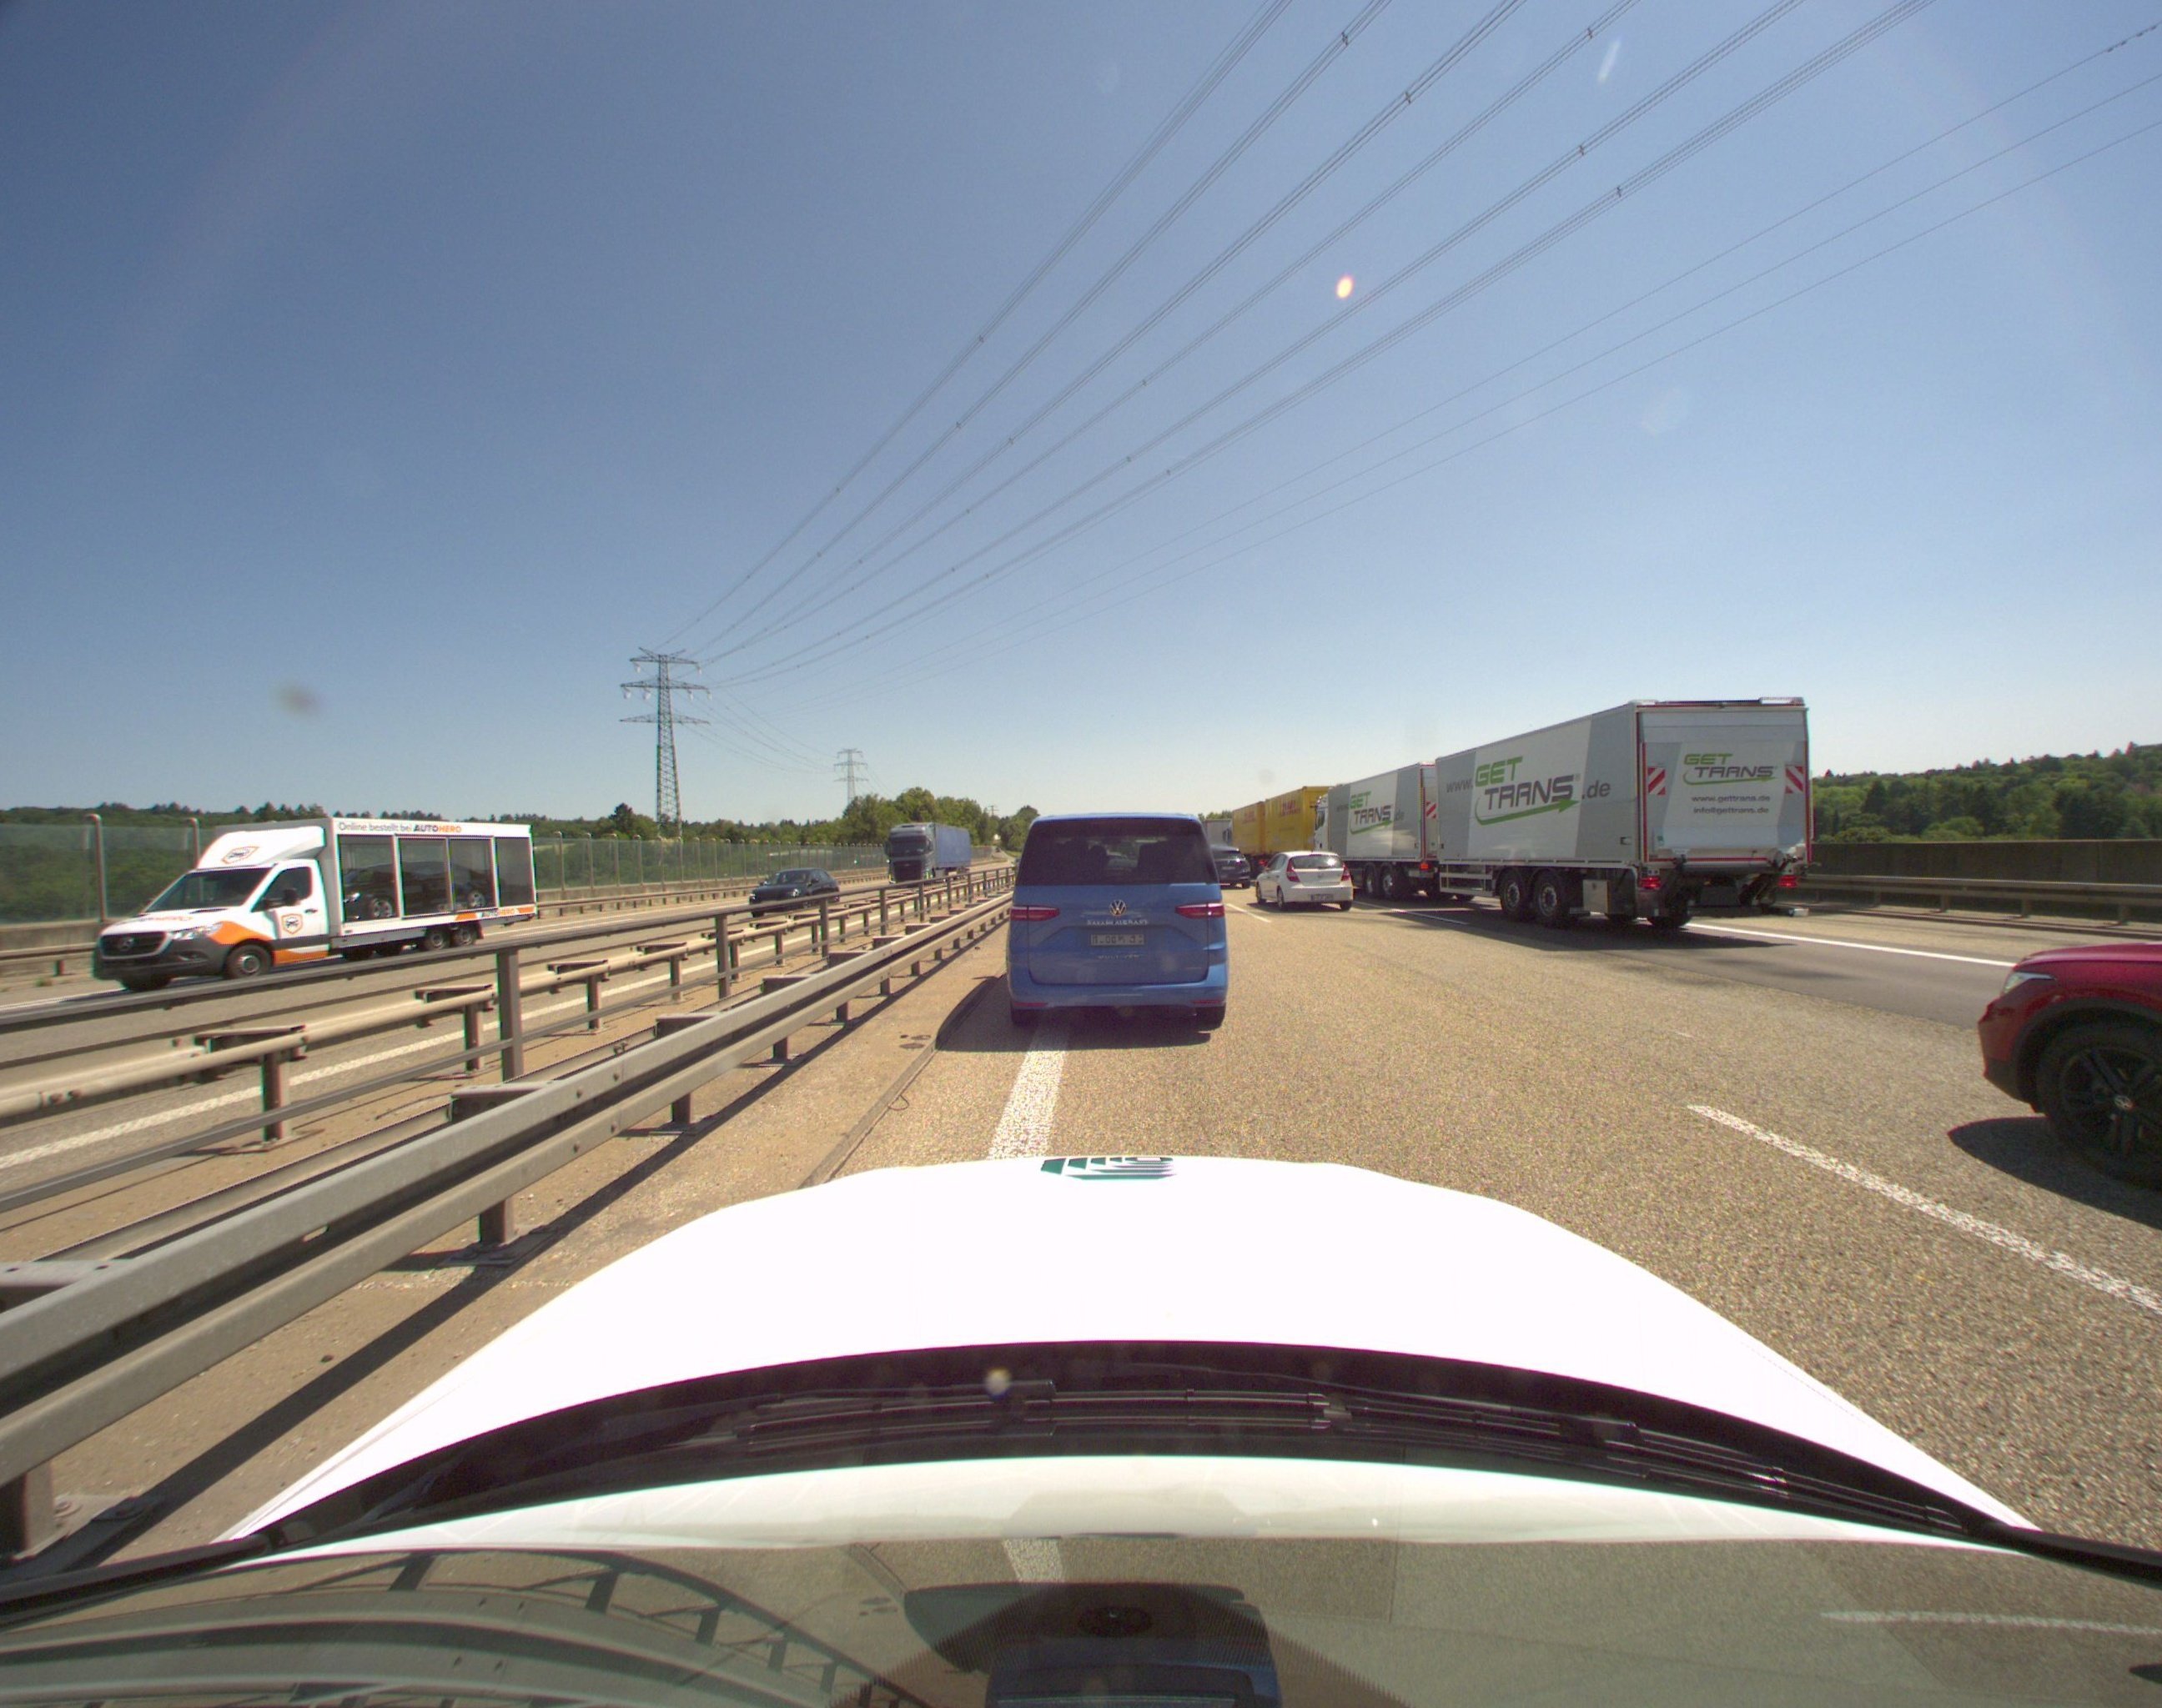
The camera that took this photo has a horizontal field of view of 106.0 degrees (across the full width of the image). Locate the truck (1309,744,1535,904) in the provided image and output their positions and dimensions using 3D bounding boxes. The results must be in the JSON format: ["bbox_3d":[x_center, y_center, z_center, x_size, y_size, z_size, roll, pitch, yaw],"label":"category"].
[{"bbox_3d":[9.903,-0.713,25.435,2.841,3.934,10.613,0,-1,2],"label":"truck"}]

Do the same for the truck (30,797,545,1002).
[{"bbox_3d":[-15.785,0.784,17.535,2.553,3.188,8.298,-4,-1,2],"label":"truck"}]

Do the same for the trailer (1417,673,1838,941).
[{"bbox_3d":[9.667,-0.650,15.996,2.888,3.891,8.217,0,-1,1],"label":"trailer"}]

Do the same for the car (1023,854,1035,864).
[{"bbox_3d":[-9.390,0.919,148.143,1.800,1.640,4.000,-4,-1,1],"label":"car"}]

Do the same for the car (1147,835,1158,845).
[{"bbox_3d":[12.771,-2.506,145.715,1.790,1.751,3.945,0,-1,2],"label":"car"}]

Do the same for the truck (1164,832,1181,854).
[{"bbox_3d":[11.035,-1.274,98.753,1.735,2.549,4.212,0,-1,2],"label":"truck"}]

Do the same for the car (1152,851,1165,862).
[{"bbox_3d":[12.415,0.352,130.341,1.790,1.751,3.945,0,-1,2],"label":"car"}]

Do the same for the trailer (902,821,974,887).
[{"bbox_3d":[-10.178,0.054,59.468,2.695,4.165,12.053,-3,-1,1],"label":"trailer"}]

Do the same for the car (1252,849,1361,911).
[{"bbox_3d":[5.768,0.636,21.334,1.809,1.470,3.932,0,-1,1],"label":"car"}]

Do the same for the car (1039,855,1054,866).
[{"bbox_3d":[-5.033,0.971,118.727,1.875,1.552,4.189,0,-1,0],"label":"car"}]

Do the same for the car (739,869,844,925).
[{"bbox_3d":[-9.140,1.312,26.057,1.791,1.498,3.853,-3,-1,2],"label":"car"}]

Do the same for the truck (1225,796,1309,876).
[{"bbox_3d":[10.423,-0.876,46.707,2.690,4.088,9.940,0,-1,1],"label":"truck"}]

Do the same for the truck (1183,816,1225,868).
[{"bbox_3d":[11.471,-1.067,76.840,3.014,4.611,7.925,0,-1,2],"label":"truck"}]

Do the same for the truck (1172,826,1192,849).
[{"bbox_3d":[11.138,-1.809,89.927,1.791,2.449,4.506,0,-1,2],"label":"truck"}]

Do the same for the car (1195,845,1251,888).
[{"bbox_3d":[5.779,0.496,33.492,1.808,1.679,3.935,0,-1,3],"label":"car"}]

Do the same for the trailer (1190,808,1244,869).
[{"bbox_3d":[11.089,-1.150,67.402,3.014,4.611,10.930,0,-1,2],"label":"trailer"}]

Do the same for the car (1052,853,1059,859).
[{"bbox_3d":[-7.164,0.558,229.793,1.865,1.442,4.386,-4,0,1],"label":"car"}]

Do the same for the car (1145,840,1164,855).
[{"bbox_3d":[8.520,-0.717,94.546,1.912,1.706,4.001,0,-1,2],"label":"car"}]

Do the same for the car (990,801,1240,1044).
[{"bbox_3d":[0.327,0.549,8.337,1.923,1.874,4.001,0,-1,2],"label":"car"}]

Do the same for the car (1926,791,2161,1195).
[{"bbox_3d":[5.306,0.568,2.194,1.702,1.679,4.286,0,0,2],"label":"car"}]

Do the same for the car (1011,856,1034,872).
[{"bbox_3d":[-5.661,0.956,79.005,1.875,1.552,4.189,0,-1,0],"label":"car"}]

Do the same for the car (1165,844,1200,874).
[{"bbox_3d":[6.795,0.357,54.837,1.955,1.936,3.933,0,-1,2],"label":"car"}]

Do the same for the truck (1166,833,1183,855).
[{"bbox_3d":[11.816,-1.232,103.553,1.790,2.596,4.307,0,-1,2],"label":"truck"}]

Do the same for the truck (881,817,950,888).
[{"bbox_3d":[-10.397,-0.041,51.773,2.743,4.116,6.267,-2,-1,2],"label":"truck"}]

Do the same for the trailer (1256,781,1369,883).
[{"bbox_3d":[10.290,-0.840,37.251,2.673,4.088,8.980,0,-1,1],"label":"trailer"}]
